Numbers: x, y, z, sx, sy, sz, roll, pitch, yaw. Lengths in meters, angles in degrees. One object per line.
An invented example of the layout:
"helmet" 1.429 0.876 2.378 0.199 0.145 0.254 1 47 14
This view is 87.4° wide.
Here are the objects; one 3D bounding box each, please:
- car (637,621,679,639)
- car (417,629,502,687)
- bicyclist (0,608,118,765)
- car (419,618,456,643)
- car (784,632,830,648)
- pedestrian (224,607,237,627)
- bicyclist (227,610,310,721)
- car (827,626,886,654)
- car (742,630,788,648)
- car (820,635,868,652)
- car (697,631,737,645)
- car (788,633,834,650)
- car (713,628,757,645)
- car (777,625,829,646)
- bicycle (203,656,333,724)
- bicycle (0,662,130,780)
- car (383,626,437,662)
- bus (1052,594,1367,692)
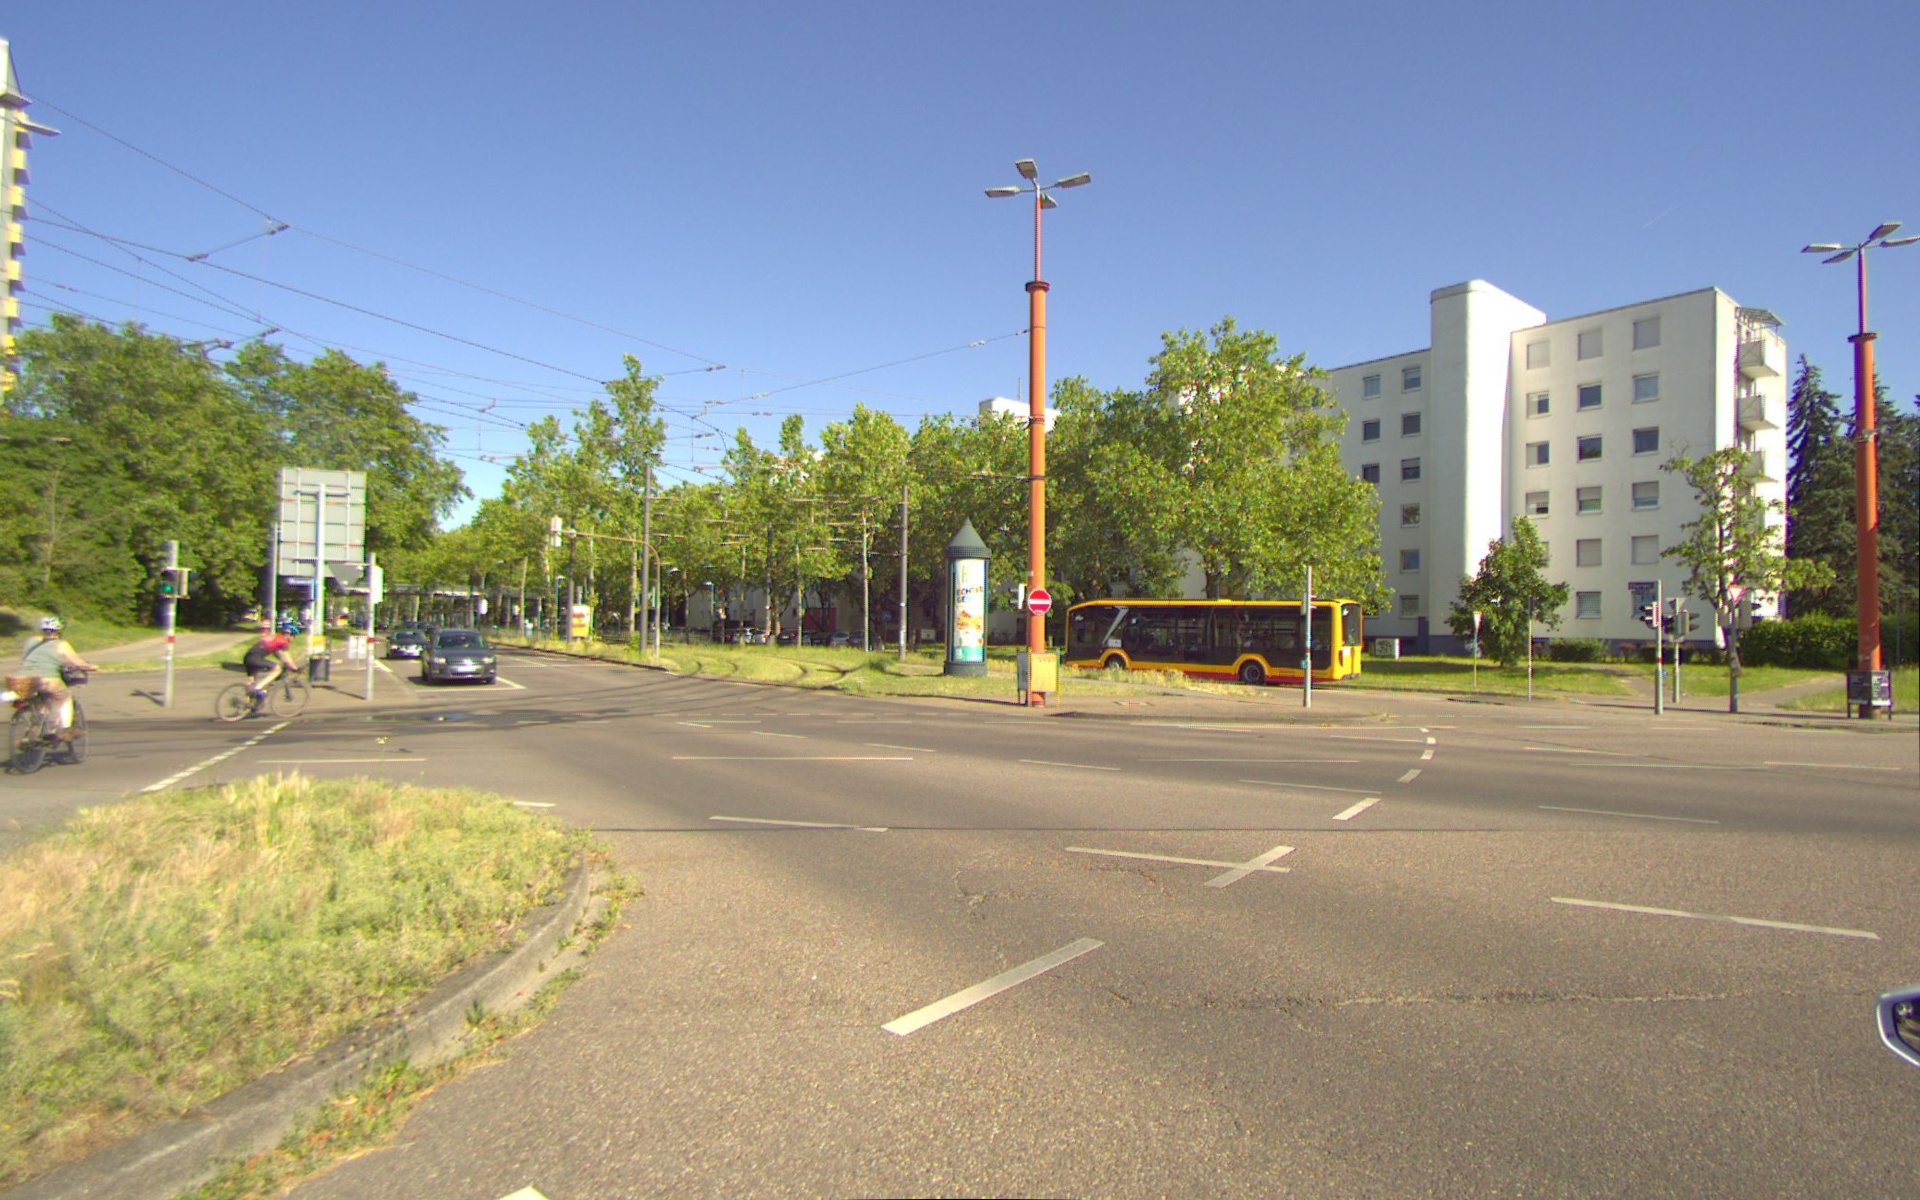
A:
"car" -35.123 3.540 116.921 4.254 2.010 1.942 1 -2 4
"car" -15.400 1.736 30.811 1.898 1.516 4.009 2 -1 -33
"bicyclist" -9.973 0.930 10.997 0.879 1.643 0.823 2 -2 -22
"car" -34.984 2.024 67.340 1.891 1.516 3.977 2 -1 -23
"car" -12.117 3.190 79.834 3.335 1.162 1.309 2 -1 10
"pedestrian" -59.676 1.386 82.166 0.678 1.576 0.985 2 -4 -27
"bicyclist" -12.615 1.173 18.357 0.673 1.938 0.991 2 -1 19
"car" -7.438 2.883 72.217 3.861 1.841 1.657 2 -1 10
"car" -17.142 3.426 88.485 3.658 1.349 1.498 2 -1 15
"car" -8.658 3.232 74.934 3.271 1.149 1.325 2 -1 12
"car" -22.932 3.557 94.871 3.351 1.204 1.447 2 -1 0
"car" -11.478 3.170 77.274 3.209 1.172 1.362 2 -1 11
"car" -20.547 3.334 91.823 3.575 1.479 1.616 2 -1 4
"car" -12.871 2.891 82.340 3.862 1.613 1.659 2 -1 15
"bicycle" -12.634 1.618 18.415 0.678 1.086 1.916 2 -1 18
"bicycle" -10.034 1.280 11.083 0.729 1.146 1.907 2 -2 -21
"car" -26.193 2.081 47.937 1.892 1.516 3.976 2 -1 -24
"bus" 9.582 1.547 40.392 12.345 3.304 2.642 1 -1 40
